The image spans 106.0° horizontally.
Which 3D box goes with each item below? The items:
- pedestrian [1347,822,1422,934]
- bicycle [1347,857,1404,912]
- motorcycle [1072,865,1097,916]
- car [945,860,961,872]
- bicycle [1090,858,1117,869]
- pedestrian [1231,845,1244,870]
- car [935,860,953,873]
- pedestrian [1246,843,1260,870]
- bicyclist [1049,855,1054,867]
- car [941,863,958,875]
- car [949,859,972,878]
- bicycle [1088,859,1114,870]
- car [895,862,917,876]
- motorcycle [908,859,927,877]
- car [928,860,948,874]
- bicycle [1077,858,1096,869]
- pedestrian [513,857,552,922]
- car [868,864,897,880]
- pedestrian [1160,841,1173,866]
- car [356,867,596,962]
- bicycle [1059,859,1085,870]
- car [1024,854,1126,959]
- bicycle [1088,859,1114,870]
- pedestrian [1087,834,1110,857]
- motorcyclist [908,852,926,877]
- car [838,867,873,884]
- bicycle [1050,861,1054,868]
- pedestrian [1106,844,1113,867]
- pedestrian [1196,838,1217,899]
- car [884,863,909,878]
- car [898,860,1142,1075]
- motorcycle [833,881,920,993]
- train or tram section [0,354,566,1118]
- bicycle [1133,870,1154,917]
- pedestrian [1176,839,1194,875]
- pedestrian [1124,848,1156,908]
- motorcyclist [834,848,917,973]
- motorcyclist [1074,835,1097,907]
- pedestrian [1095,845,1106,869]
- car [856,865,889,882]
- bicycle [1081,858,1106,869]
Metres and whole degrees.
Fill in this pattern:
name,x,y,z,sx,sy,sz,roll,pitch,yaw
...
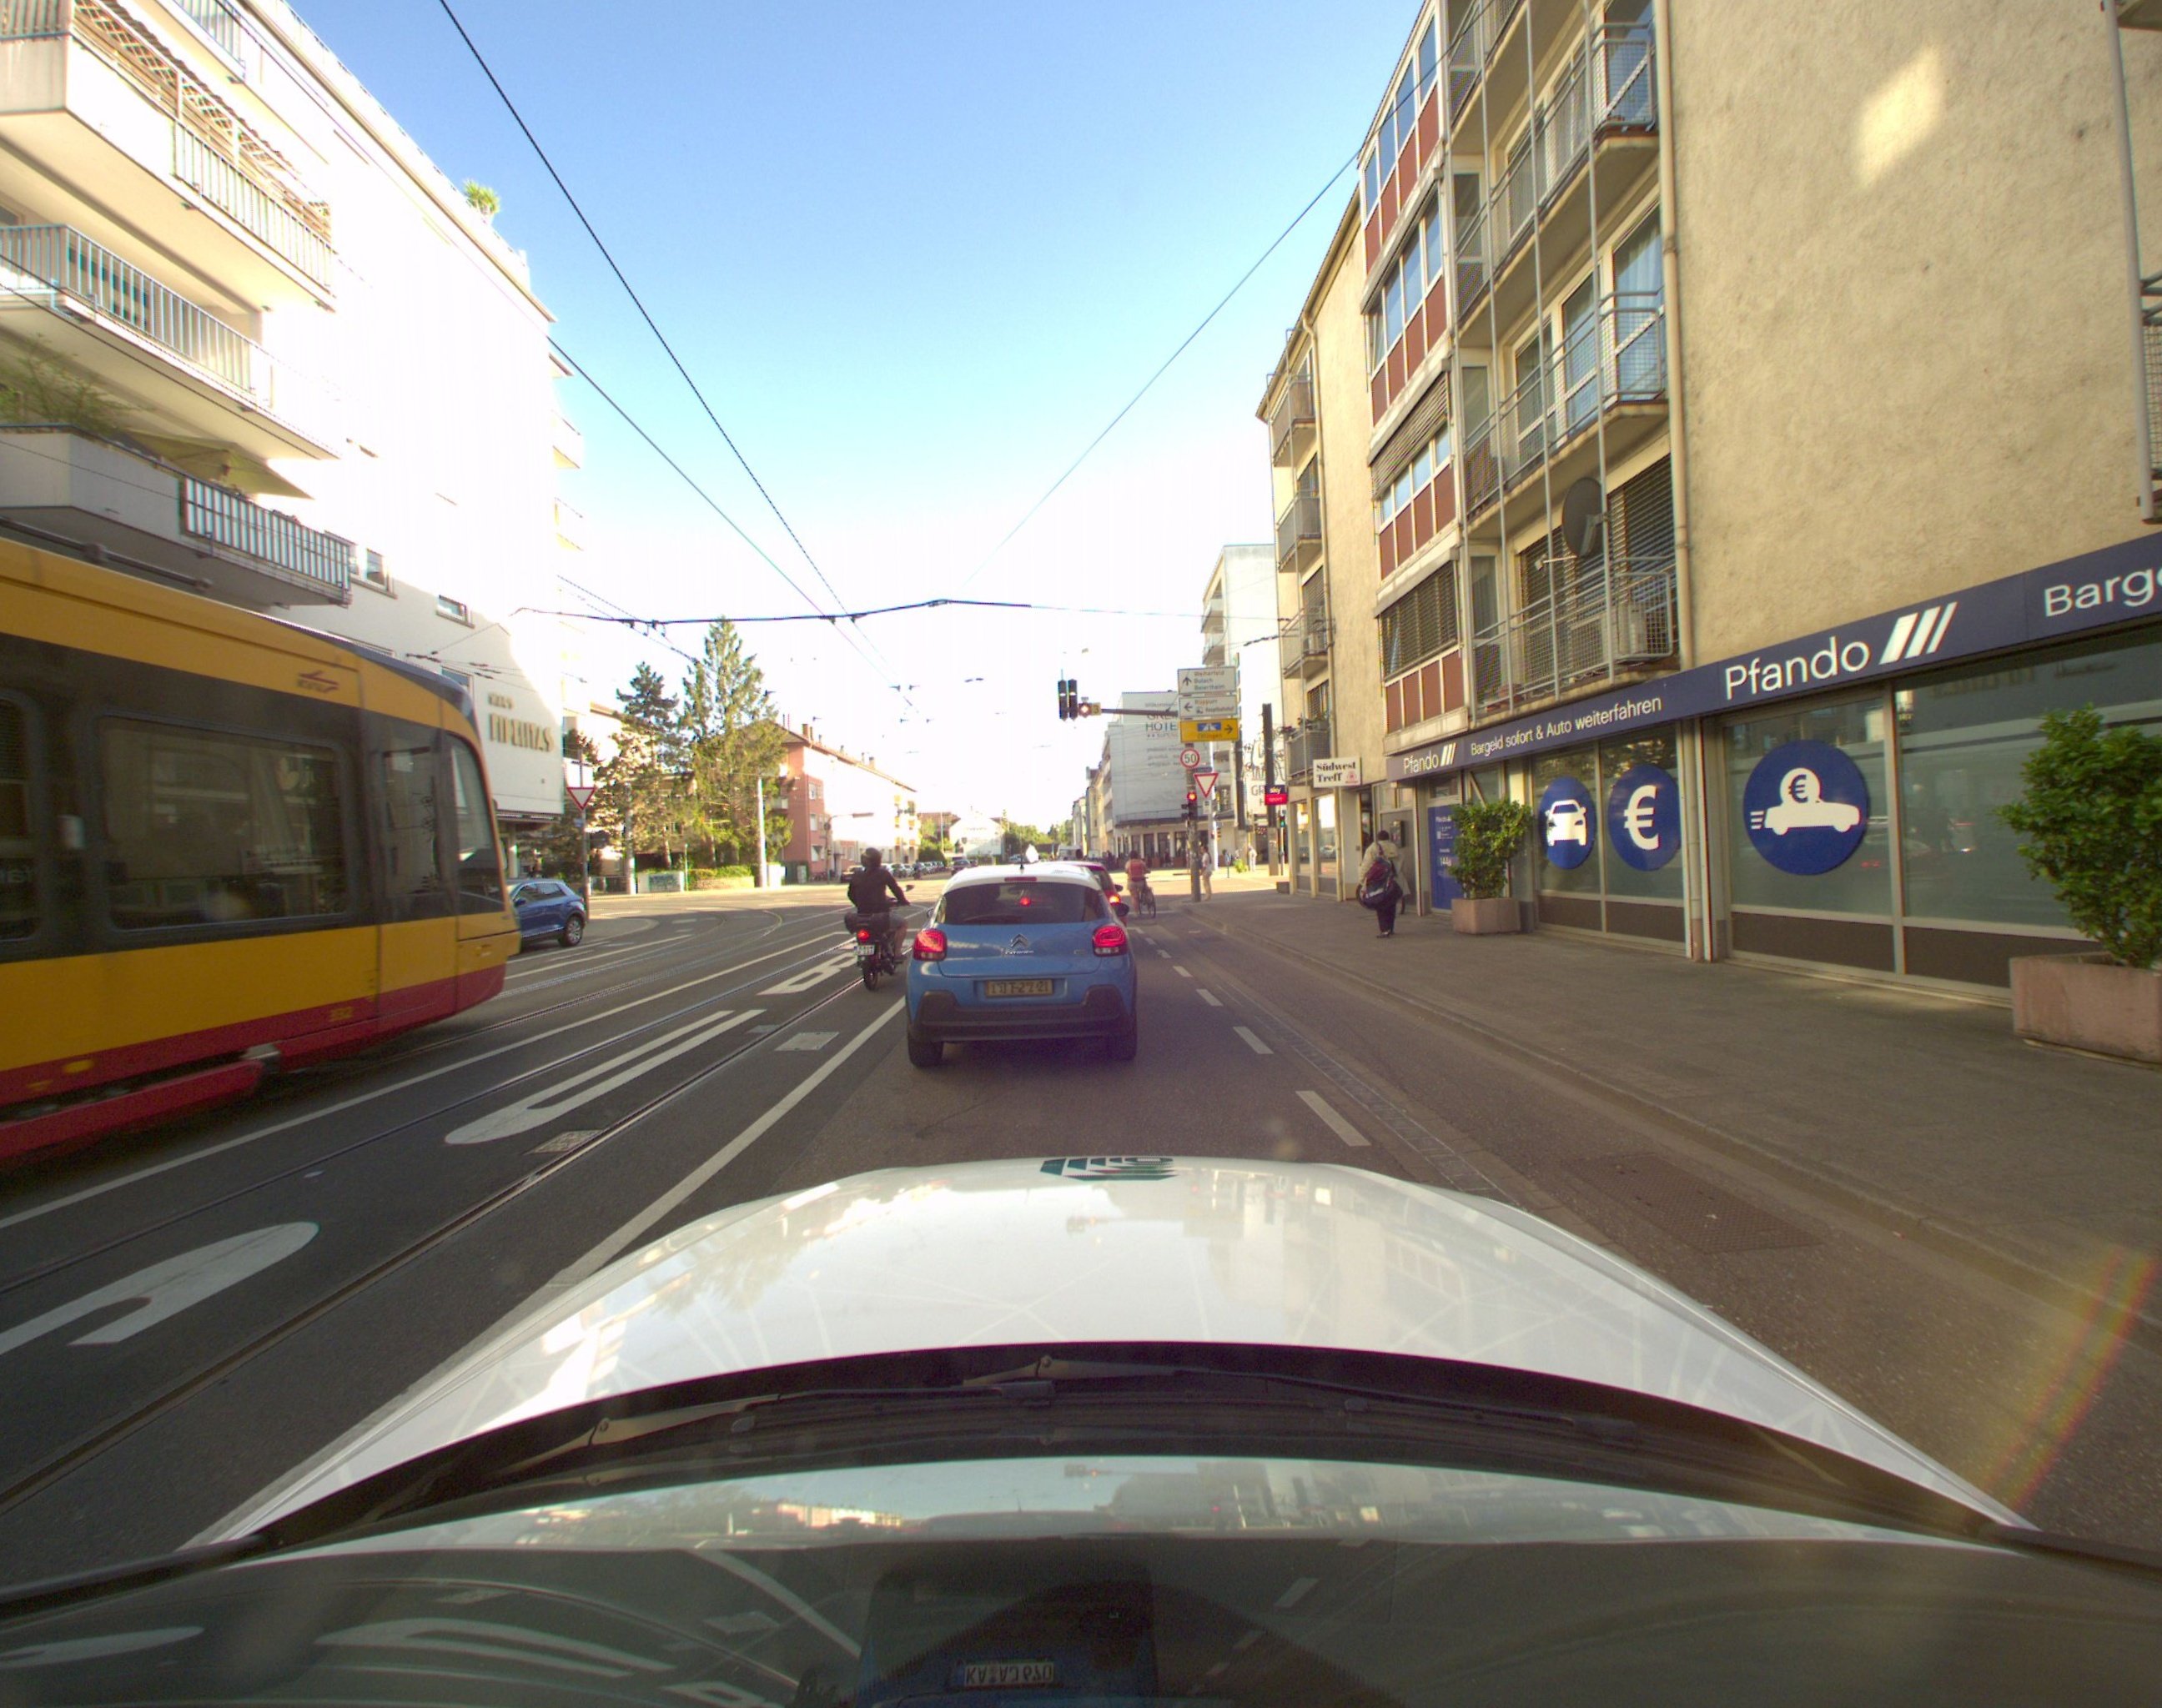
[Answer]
name,x,y,z,sx,sy,sz,roll,pitch,yaw
pedestrian,4.446,0.346,11.978,0.822,1.593,0.751,0,-1,1
bicycle,5.692,0.572,15.814,0.540,0.998,1.706,0,-1,2
motorcycle,0.109,0.836,19.558,0.524,1.139,2.290,0,-1,2
car,-19.185,1.769,121.966,1.841,1.687,3.872,0,-1,-1
bicycle,1.841,0.768,66.007,2.130,0.901,0.366,0,-1,-7
pedestrian,10.253,0.222,53.406,0.733,1.601,0.749,0,-1,2
car,-18.835,1.685,111.842,1.877,1.687,3.998,0,-1,-1
pedestrian,10.801,0.172,51.181,0.749,1.657,0.884,0,-1,2
bicyclist,-3.584,0.861,100.497,0.559,1.477,0.748,0,-1,1
car,-18.935,2.125,117.253,1.828,1.687,3.998,0,-1,-1
car,-11.345,1.344,76.821,1.770,1.666,3.854,0,-1,-2
bicycle,1.631,0.863,67.668,2.130,0.901,0.366,0,-1,-7
car,-19.954,1.688,92.937,1.728,1.498,3.996,0,-1,-2
motorcycle,-13.620,1.155,67.929,0.921,1.486,3.724,0,-1,-1
car,-18.760,1.680,106.960,1.978,1.687,3.998,0,-1,-1
bicycle,0.448,0.819,69.445,1.765,0.901,0.369,-1,-1,36
pedestrian,-17.220,1.106,25.586,0.767,2.014,0.694,0,-1,-4
car,-19.438,1.749,80.039,1.781,1.511,4.150,0,-1,1
pedestrian,6.913,-0.008,65.872,0.715,2.014,0.750,0,-1,-44
car,-11.962,1.100,16.516,1.864,1.531,4.068,-2,0,-2
bicycle,-0.715,0.877,66.421,2.130,0.901,0.366,0,-1,-7
car,-0.035,0.777,13.281,1.419,1.467,2.925,-2,-1,2
bicycle,1.675,0.865,67.242,2.130,0.901,0.366,0,-1,-7
pedestrian,1.628,-0.729,73.690,1.986,2.014,4.001,0,-1,2
motorcyclist,-13.641,0.896,67.796,1.182,2.013,1.275,-2,0,-1
car,-19.199,1.818,69.421,1.787,1.421,3.996,0,-1,1
bicycle,-3.577,1.275,100.602,0.347,0.903,1.859,0,-1,0
pedestrian,2.496,0.143,70.423,0.575,2.014,0.625,0,-1,-1
pedestrian,3.723,0.438,24.239,0.515,1.783,0.595,0,-1,0
car,-19.590,1.736,86.702,1.781,1.498,3.998,0,-1,-1
car,-0.359,0.786,7.290,1.648,1.444,3.524,0,-1,2
motorcycle,-2.517,0.977,10.234,0.535,1.219,1.982,0,-1,2
train or tram section,-6.429,-0.577,1.126,2.737,3.632,14.254,0,0,-2
bicycle,1.576,0.975,20.630,0.426,1.123,1.999,0,-1,2
pedestrian,5.981,0.170,46.938,0.922,2.014,0.760,0,-1,1
pedestrian,1.469,0.584,20.321,0.774,1.460,0.682,0,-1,1
motorcyclist,-2.537,0.683,10.121,0.857,1.505,0.598,0,-1,1
motorcyclist,0.115,0.402,19.749,0.524,1.716,0.717,0,-1,2
pedestrian,1.642,0.260,69.377,0.635,2.014,0.717,0,-1,-34
car,-19.229,1.797,75.361,1.808,1.498,4.302,0,0,2
bicycle,1.052,0.819,68.444,2.130,0.901,0.366,0,-1,-7
